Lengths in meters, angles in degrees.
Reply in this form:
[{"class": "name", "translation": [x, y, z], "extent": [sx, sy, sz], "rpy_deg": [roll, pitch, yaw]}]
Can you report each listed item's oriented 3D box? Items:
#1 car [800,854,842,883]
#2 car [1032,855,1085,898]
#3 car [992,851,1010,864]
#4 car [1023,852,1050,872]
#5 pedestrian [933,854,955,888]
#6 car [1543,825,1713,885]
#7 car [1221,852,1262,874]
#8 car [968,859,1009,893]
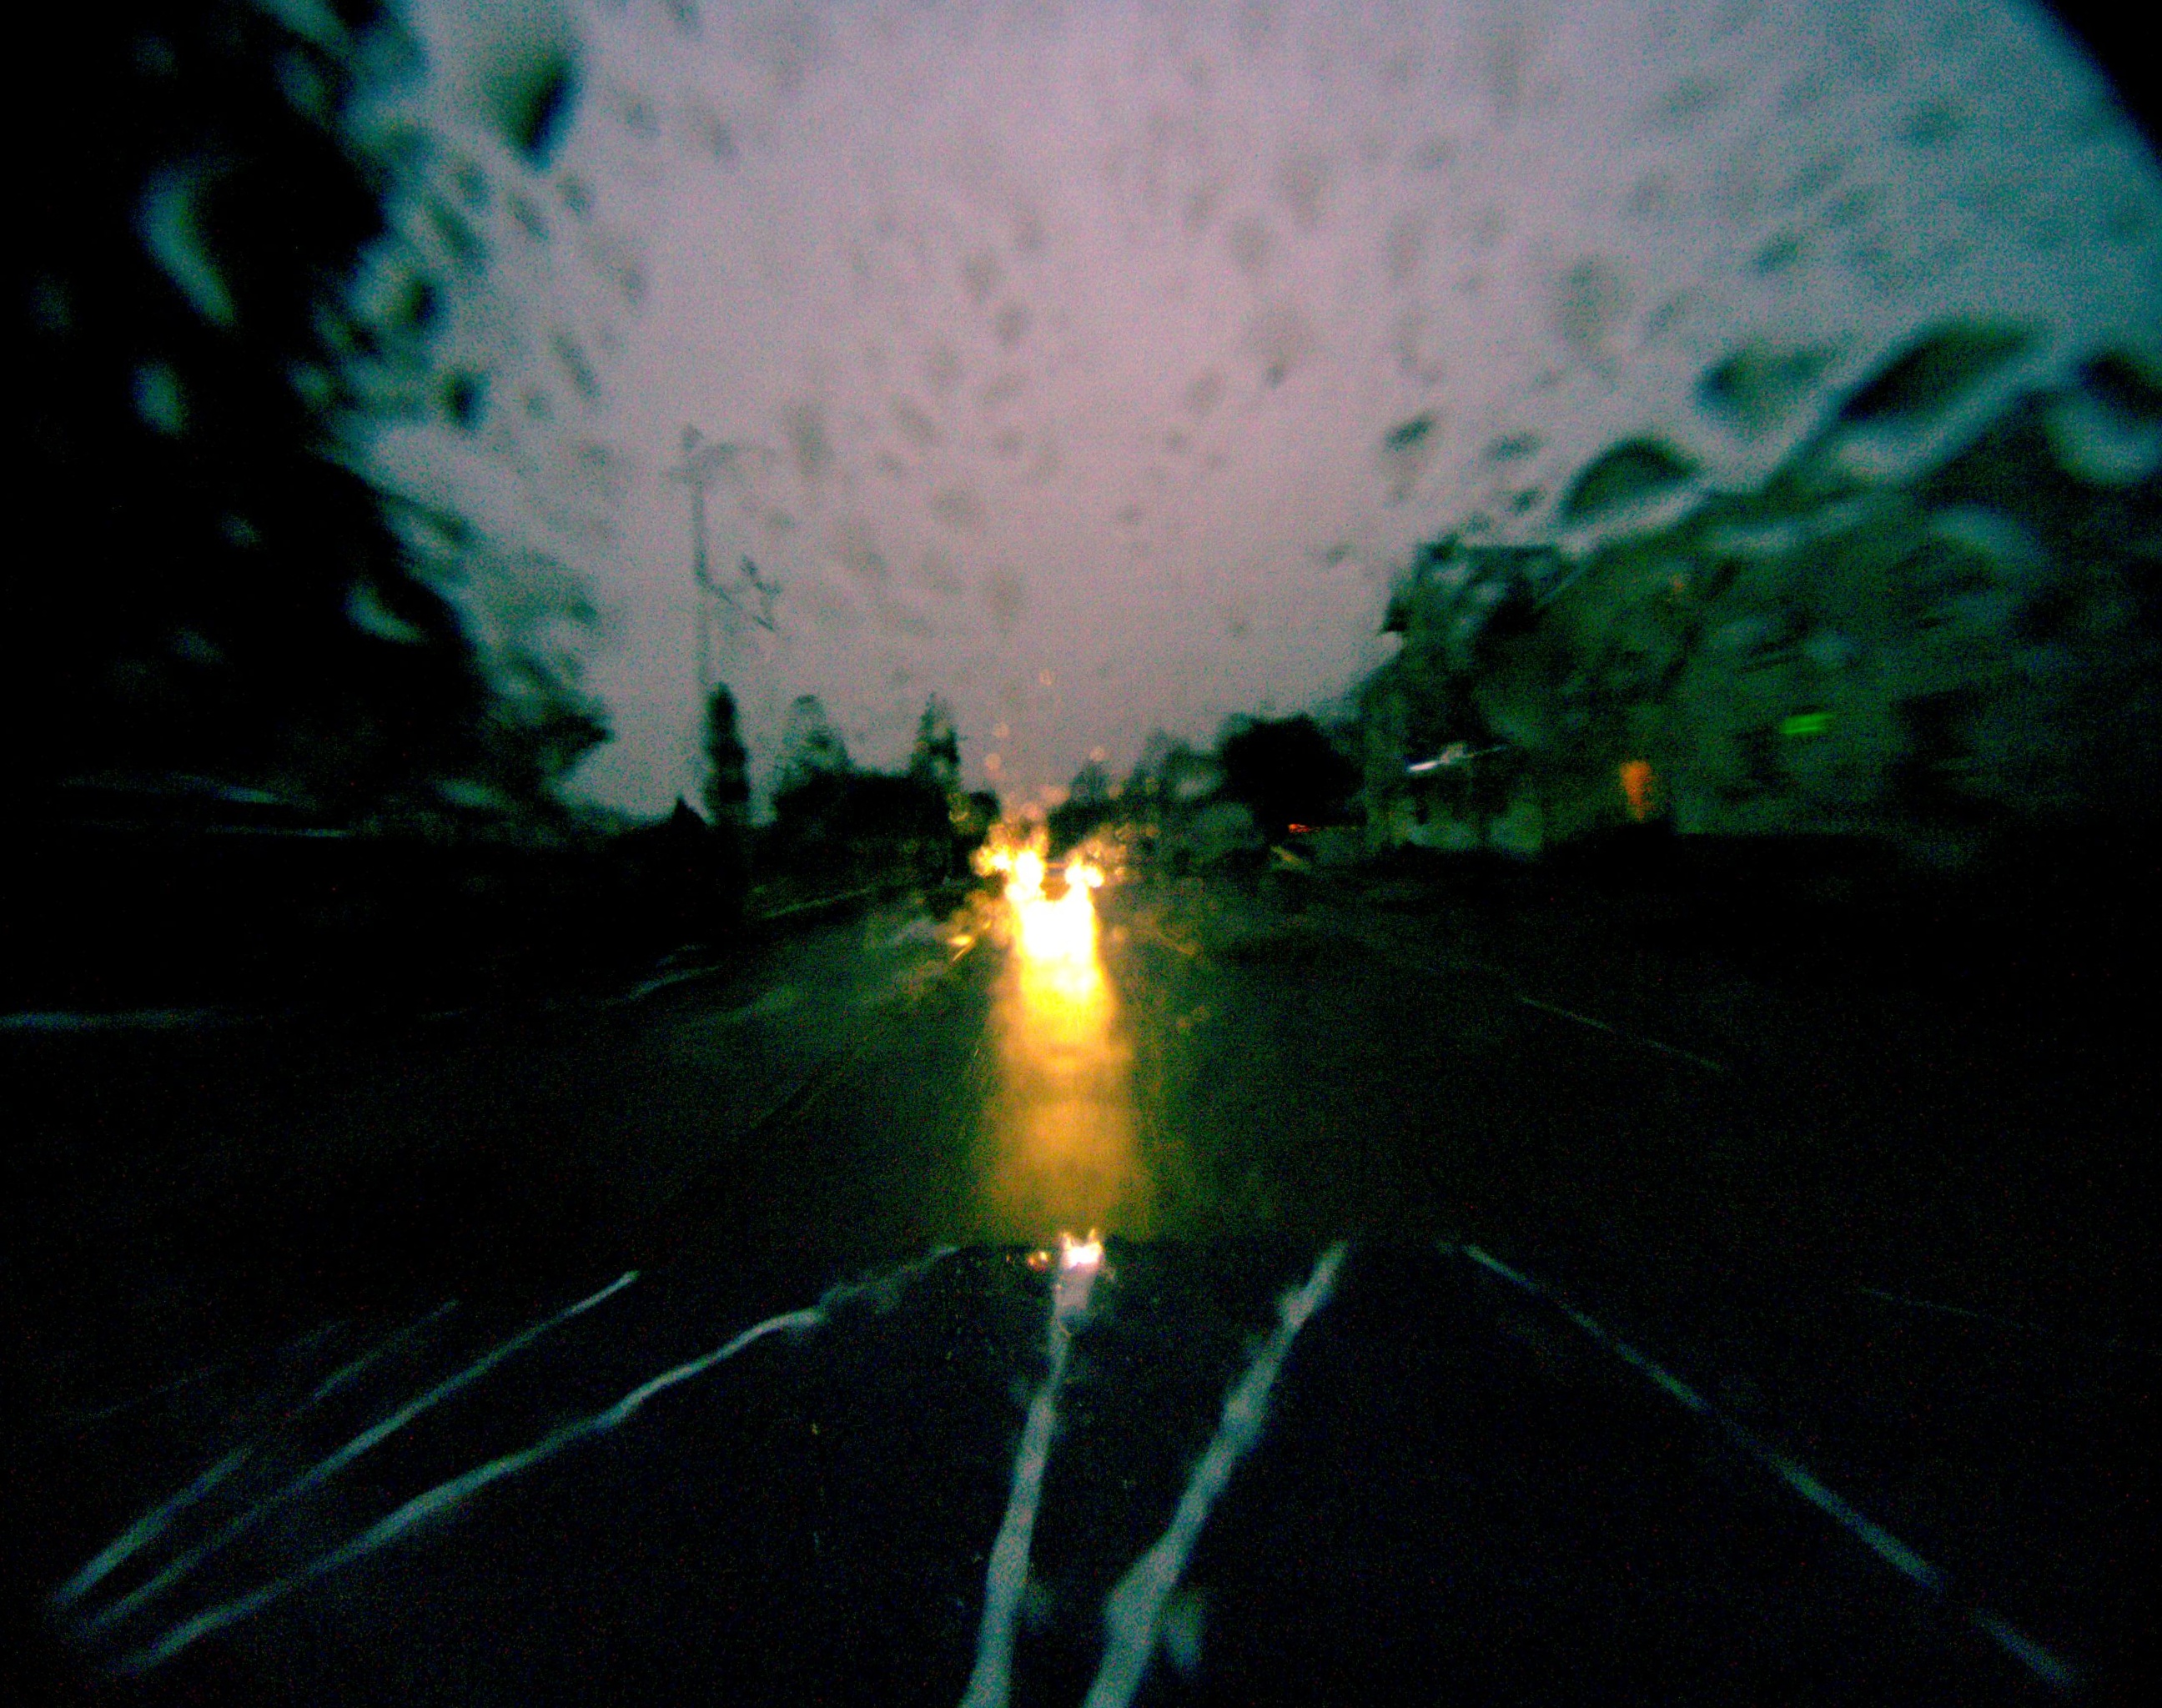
[{"class": "car", "translation": [-16.953, 0.908, 49.749], "extent": [1.948, 1.653, 4.225], "rpy_deg": [-3, 1, -11]}, {"class": "car", "translation": [-0.961, 0.891, 31.361], "extent": [1.999, 1.575, 3.999], "rpy_deg": [-2, 0, -3]}, {"class": "car", "translation": [-10.707, 0.457, 101.465], "extent": [1.777, 1.609, 3.867], "rpy_deg": [-4, 1, -15]}, {"class": "car", "translation": [-4.029, 0.716, 68.595], "extent": [2.000, 1.660, 3.997], "rpy_deg": [-3, 0, -8]}, {"class": "pedestrian", "translation": [-7.011, 0.855, 38.935], "extent": [0.990, 1.732, 1.055], "rpy_deg": [-1, 1, -5]}, {"class": "car", "translation": [16.973, 0.026, 23.692], "extent": [3.999, 1.591, 1.921], "rpy_deg": [-3, 0, -5]}, {"class": "car", "translation": [10.993, 0.589, 52.321], "extent": [1.787, 1.358, 3.998], "rpy_deg": [-4, 1, -3]}, {"class": "car", "translation": [-4.340, 1.004, 35.980], "extent": [1.654, 1.531, 3.389], "rpy_deg": [1, 0, -3]}]
